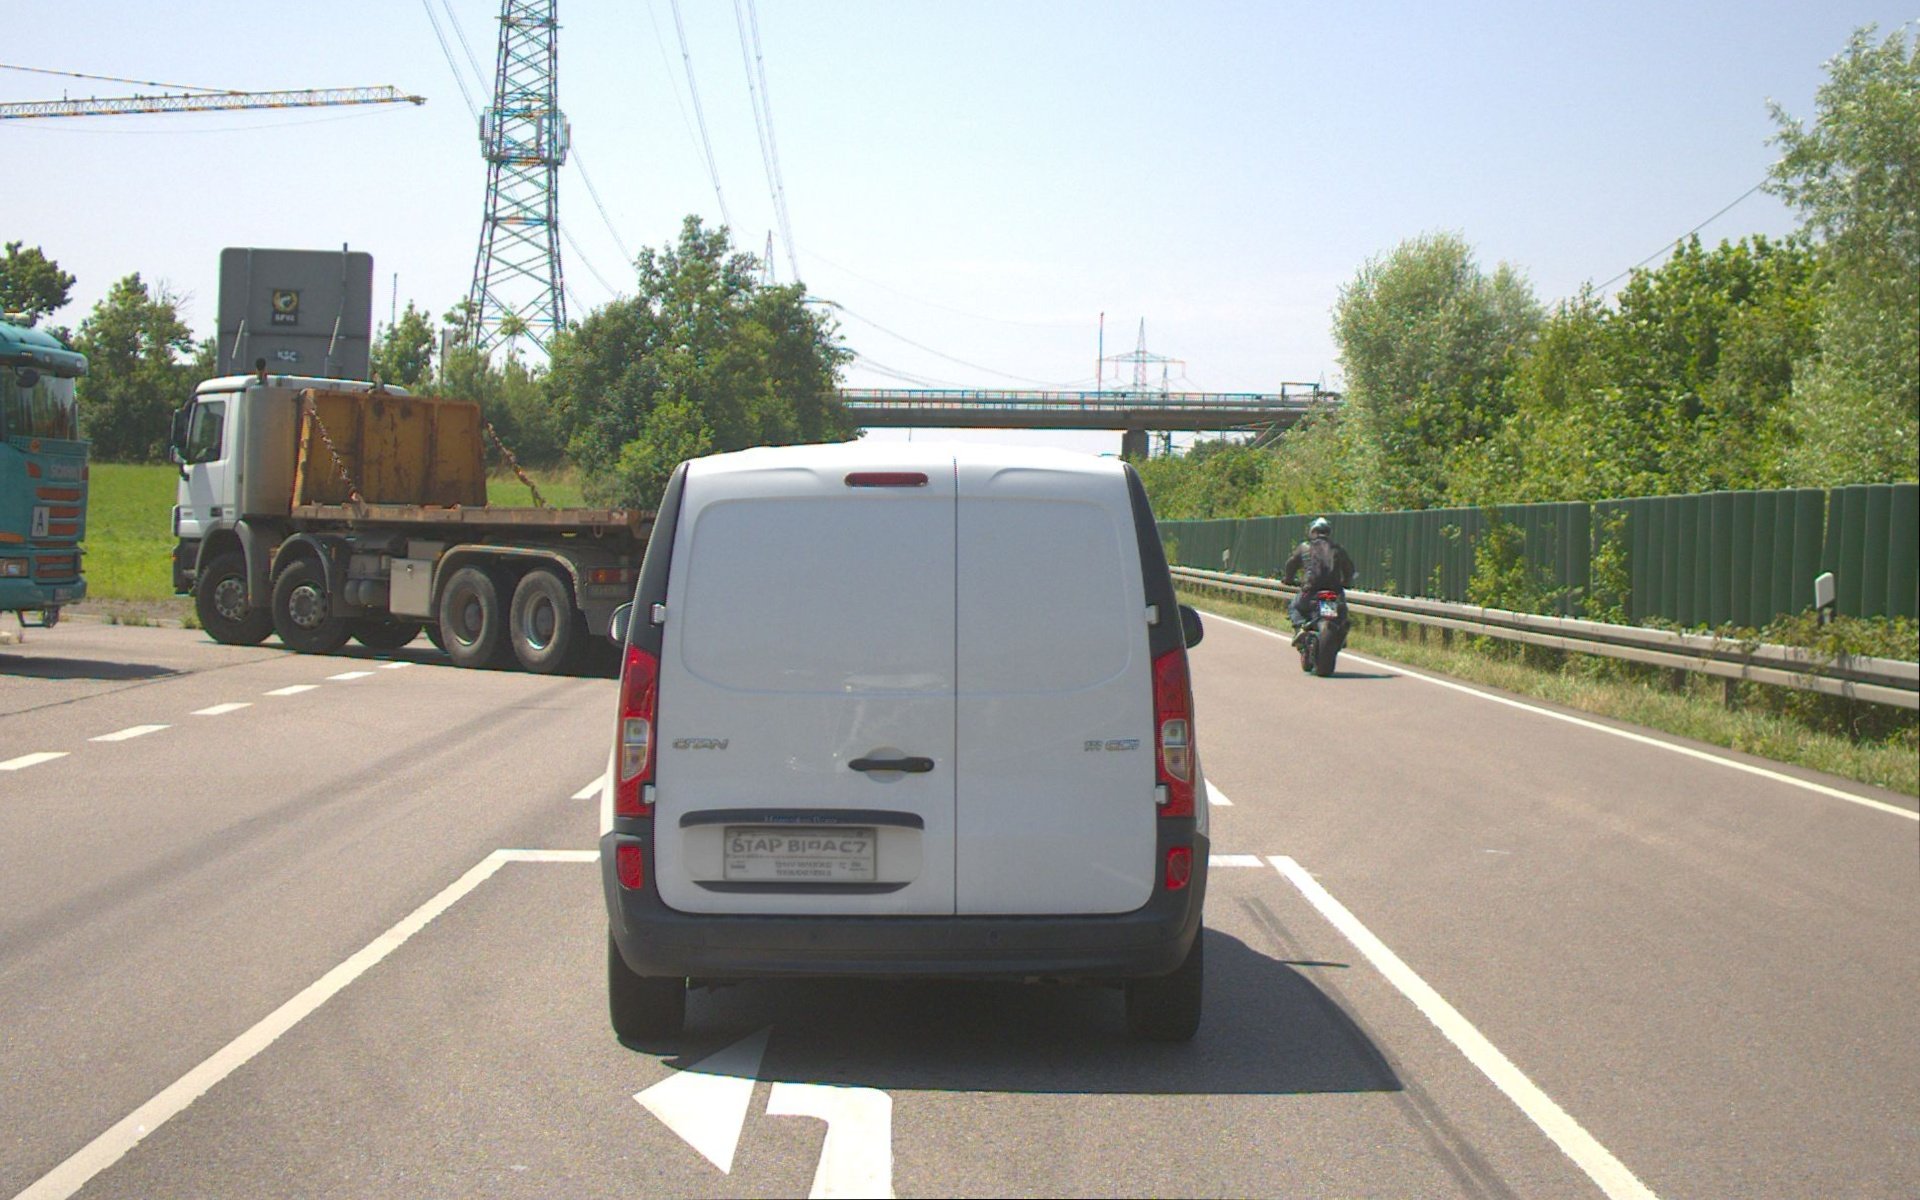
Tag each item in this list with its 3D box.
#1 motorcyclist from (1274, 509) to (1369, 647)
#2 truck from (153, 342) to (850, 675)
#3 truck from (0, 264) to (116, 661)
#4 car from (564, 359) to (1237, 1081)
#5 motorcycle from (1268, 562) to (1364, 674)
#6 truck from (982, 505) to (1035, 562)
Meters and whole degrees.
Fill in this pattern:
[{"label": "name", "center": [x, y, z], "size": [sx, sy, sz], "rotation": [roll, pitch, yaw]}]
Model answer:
[{"label": "motorcyclist", "center": [3.921, -0.245, 37.368], "size": [0.889, 1.471, 1.002], "rotation": [1, 1, -1]}, {"label": "truck", "center": [-5.396, -1.094, 38.340], "size": [2.821, 3.277, 9.697], "rotation": [0, 2, -41]}, {"label": "truck", "center": [-12.657, -1.537, 33.781], "size": [7.905, 3.721, 2.498], "rotation": [3, 1, 3]}, {"label": "car", "center": [-0.178, 0.289, 11.442], "size": [1.827, 1.964, 4.000], "rotation": [1, 1, 0]}, {"label": "motorcycle", "center": [3.890, 0.182, 37.665], "size": [0.790, 1.153, 1.901], "rotation": [1, 1, -1]}, {"label": "truck", "center": [2.373, -3.331, 171.007], "size": [2.374, 2.680, 8.010], "rotation": [2, 1, 0]}]
